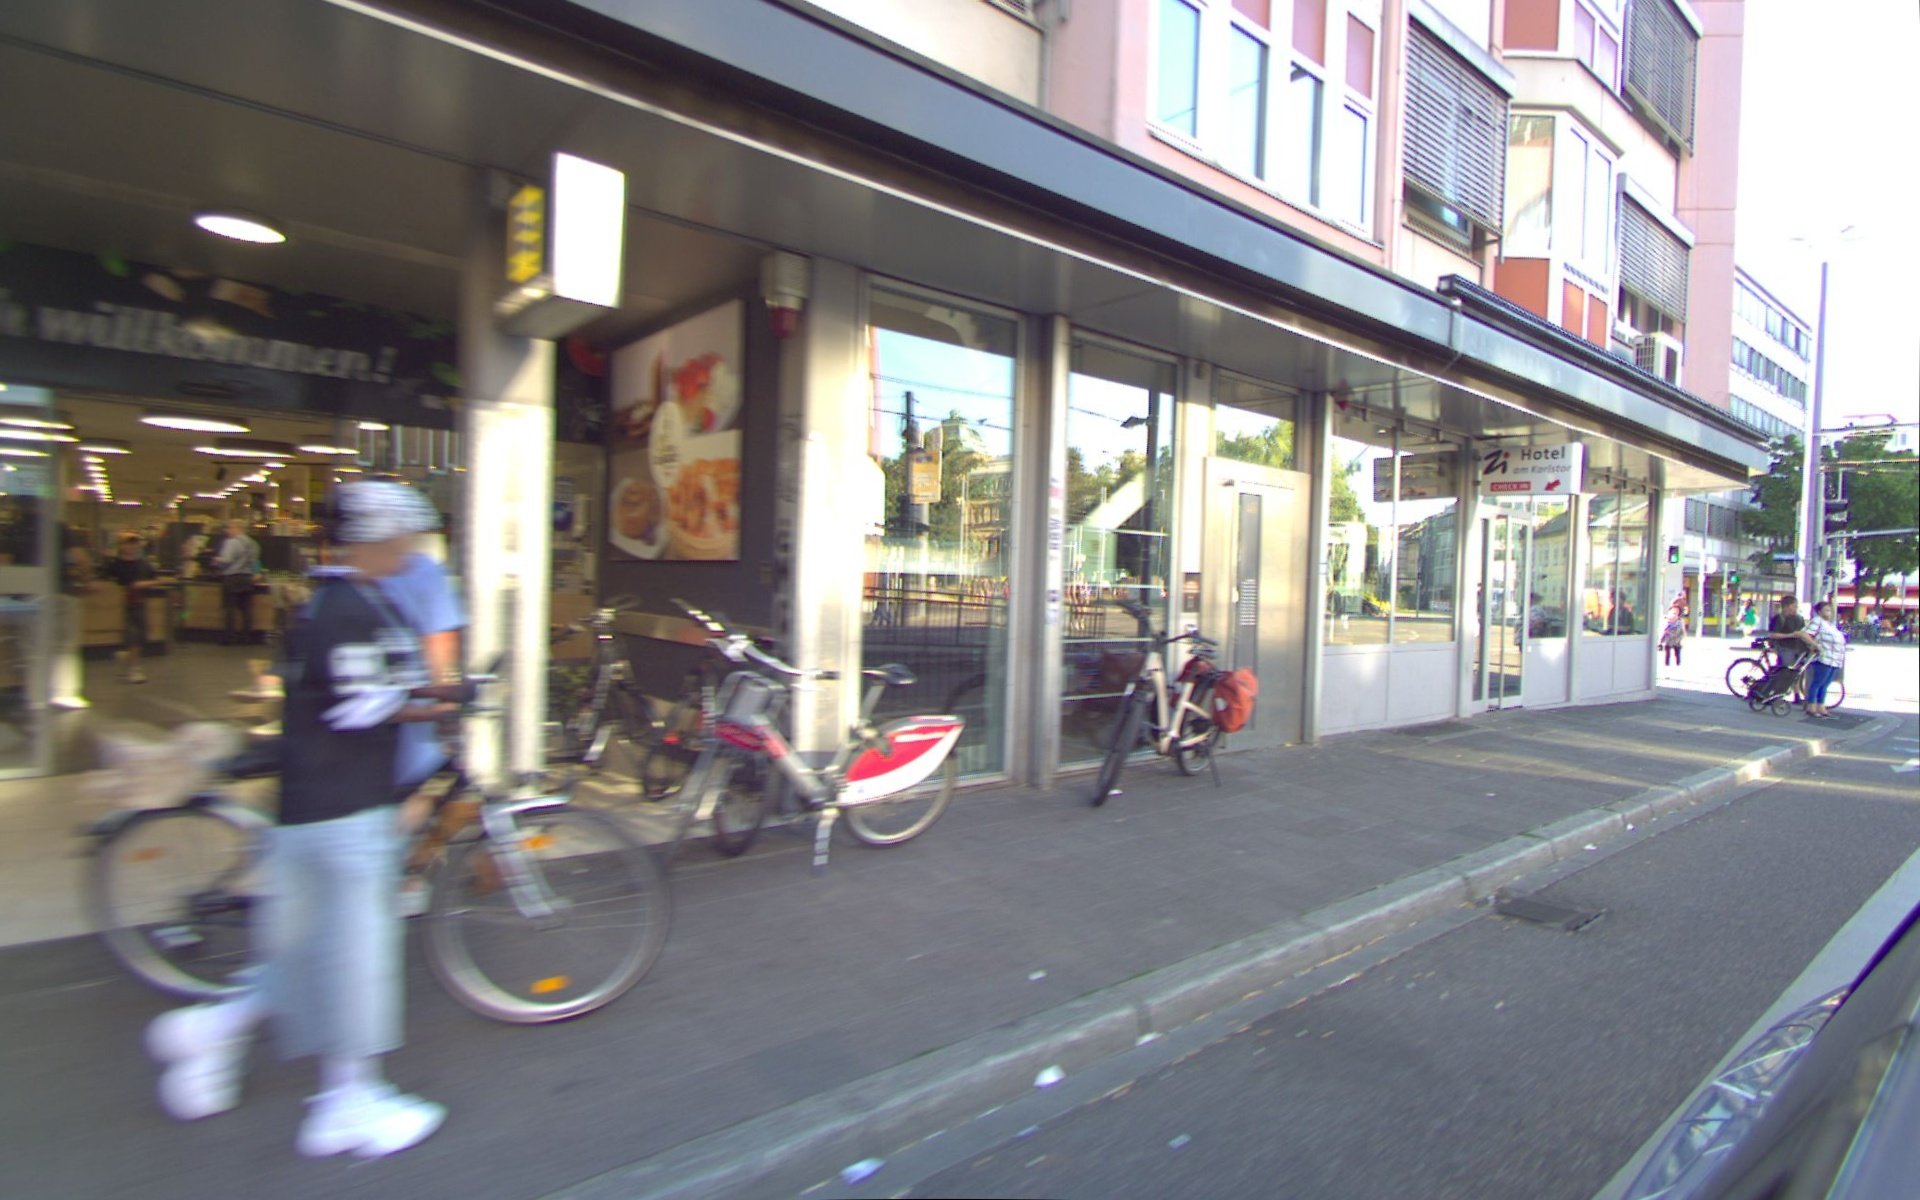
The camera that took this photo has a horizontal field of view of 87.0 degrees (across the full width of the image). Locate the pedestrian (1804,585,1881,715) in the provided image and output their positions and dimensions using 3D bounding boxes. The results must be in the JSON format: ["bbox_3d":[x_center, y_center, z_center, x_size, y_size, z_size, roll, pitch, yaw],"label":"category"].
[{"bbox_3d":[12.111,0.656,13.905,0.635,1.681,0.757,7,4,41],"label":"pedestrian"}]

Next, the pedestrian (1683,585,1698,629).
[{"bbox_3d":[29.458,0.282,40.816,0.402,1.740,0.391,-1,-1,27],"label":"pedestrian"}]

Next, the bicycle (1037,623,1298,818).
[{"bbox_3d":[1.394,0.705,6.579,1.812,0.987,0.677,0,6,-43],"label":"bicycle"}]

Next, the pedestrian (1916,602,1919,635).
[{"bbox_3d":[50.659,0.975,52.984,1.035,1.731,0.858,1,0,-45],"label":"pedestrian"}]

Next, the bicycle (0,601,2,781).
[{"bbox_3d":[-4.686,0.536,4.495,0.566,0.950,1.927,1,3,-42],"label":"bicycle"}]

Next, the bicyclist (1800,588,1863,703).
[{"bbox_3d":[13.432,0.675,15.591,0.756,1.699,0.636,0,1,-44],"label":"bicyclist"}]

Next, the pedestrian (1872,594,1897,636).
[{"bbox_3d":[45.920,0.742,50.272,0.743,2.039,1.057,-1,-1,37],"label":"pedestrian"}]

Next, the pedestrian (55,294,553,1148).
[{"bbox_3d":[-1.645,0.249,2.654,0.722,1.839,0.804,1,0,13],"label":"pedestrian"}]

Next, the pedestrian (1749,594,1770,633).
[{"bbox_3d":[30.169,0.515,38.201,0.594,1.461,0.605,-1,-1,39],"label":"pedestrian"}]

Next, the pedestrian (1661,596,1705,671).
[{"bbox_3d":[15.391,0.694,21.548,0.688,1.554,0.605,2,1,39],"label":"pedestrian"}]

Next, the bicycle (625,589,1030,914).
[{"bbox_3d":[-0.603,0.592,4.601,1.599,1.189,0.803,1,4,-29],"label":"bicycle"}]

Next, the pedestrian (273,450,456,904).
[{"bbox_3d":[-2.226,0.276,3.813,0.451,1.614,0.409,3,3,-12],"label":"pedestrian"}]

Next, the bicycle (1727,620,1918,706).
[{"bbox_3d":[13.330,0.933,15.699,0.756,1.138,2.172,0,2,-43],"label":"bicycle"}]
